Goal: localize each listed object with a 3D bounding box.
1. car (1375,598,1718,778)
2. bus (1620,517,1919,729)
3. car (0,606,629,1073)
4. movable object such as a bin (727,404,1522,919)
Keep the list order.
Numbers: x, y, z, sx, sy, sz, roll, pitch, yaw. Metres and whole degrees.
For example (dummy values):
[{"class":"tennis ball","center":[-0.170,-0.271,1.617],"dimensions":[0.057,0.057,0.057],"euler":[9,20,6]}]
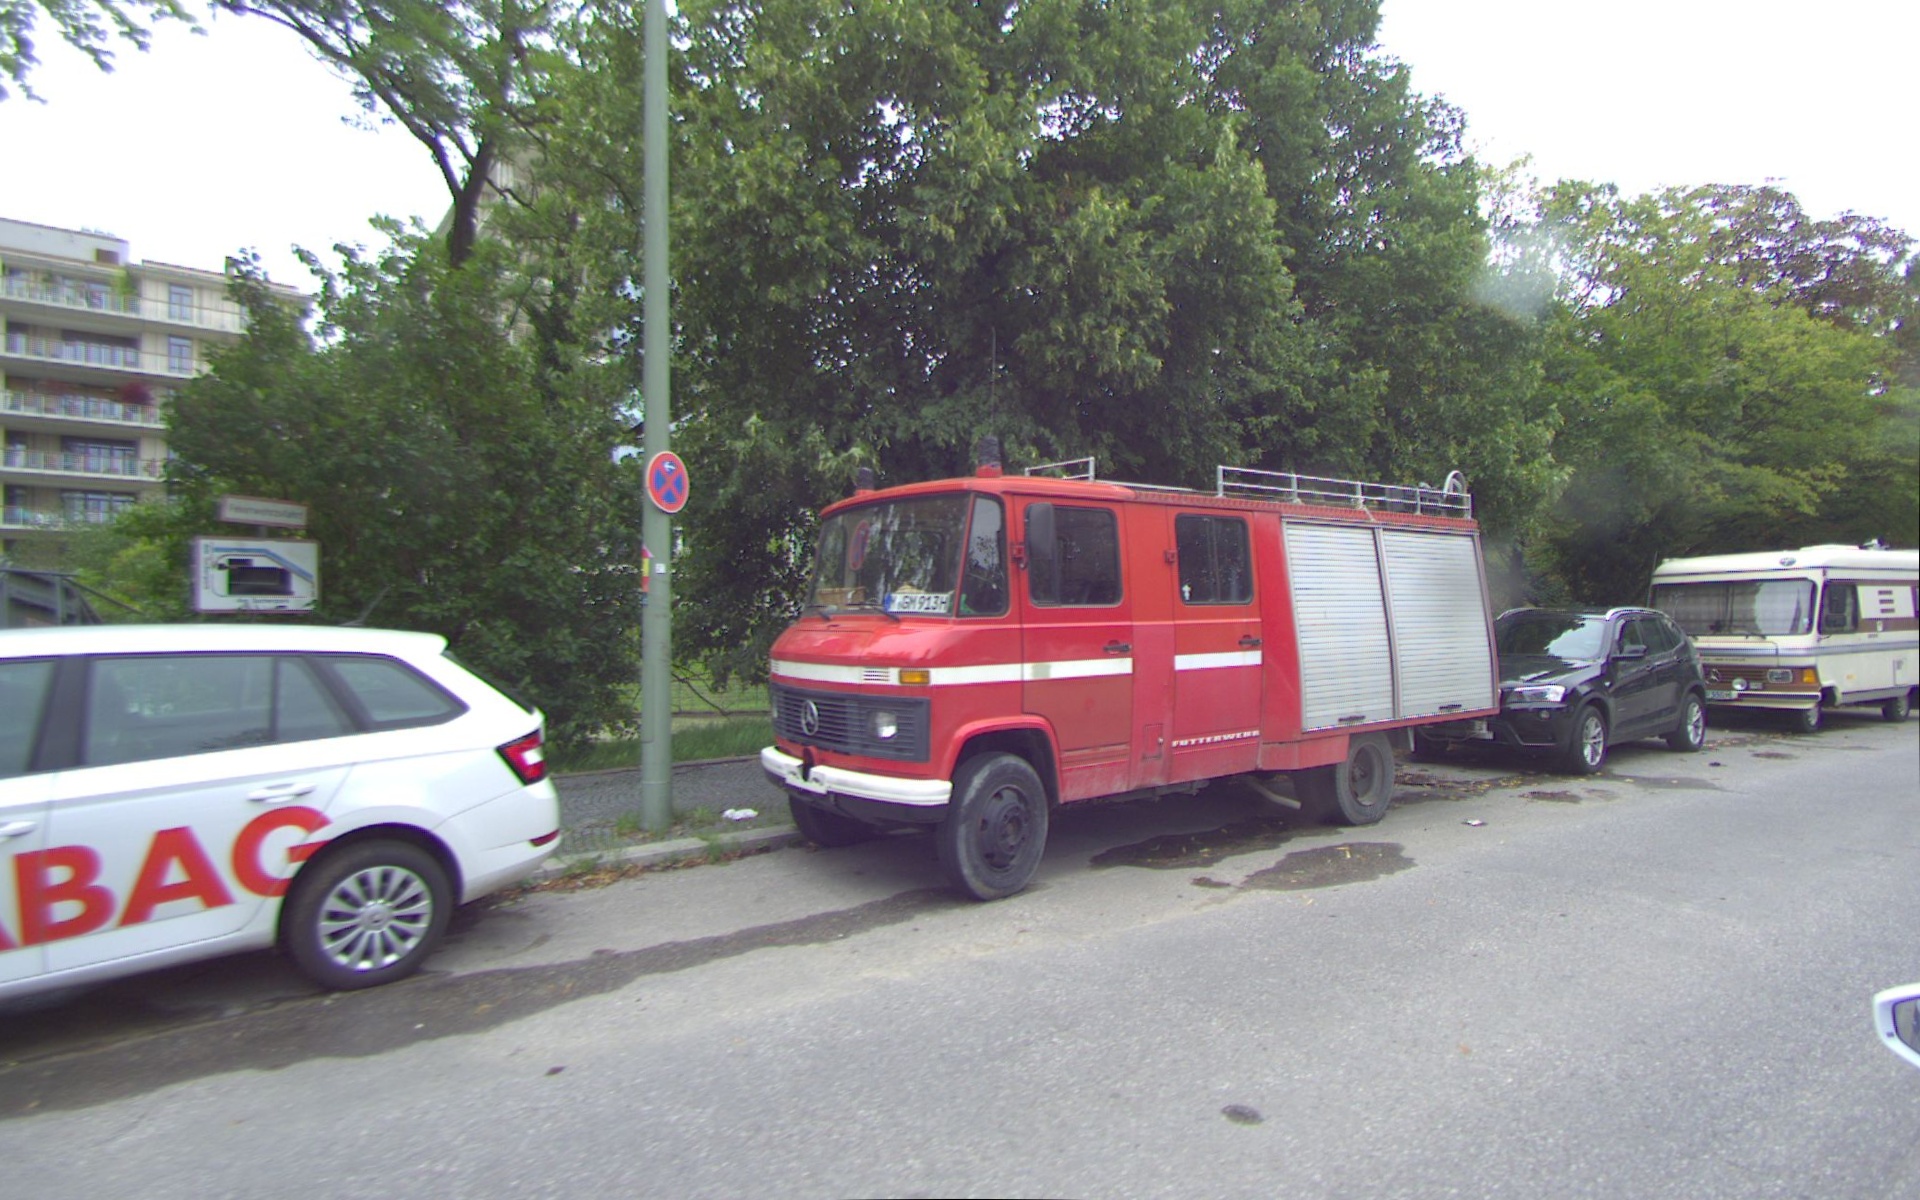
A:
[{"class":"car","center":[6.742,0.868,11.372],"dimensions":[4.418,1.671,1.764],"euler":[1,-2,-37]},{"class":"bus","center":[12.936,0.358,15.405],"dimensions":[5.664,2.734,2.305],"euler":[1,-2,-29]},{"class":"car","center":[-3.748,0.832,4.116],"dimensions":[4.224,1.570,1.761],"euler":[1,-2,-41]},{"class":"movable object such as a bin","center":[1.560,0.359,7.480],"dimensions":[6.124,2.491,2.091],"euler":[1,-2,-35]}]
